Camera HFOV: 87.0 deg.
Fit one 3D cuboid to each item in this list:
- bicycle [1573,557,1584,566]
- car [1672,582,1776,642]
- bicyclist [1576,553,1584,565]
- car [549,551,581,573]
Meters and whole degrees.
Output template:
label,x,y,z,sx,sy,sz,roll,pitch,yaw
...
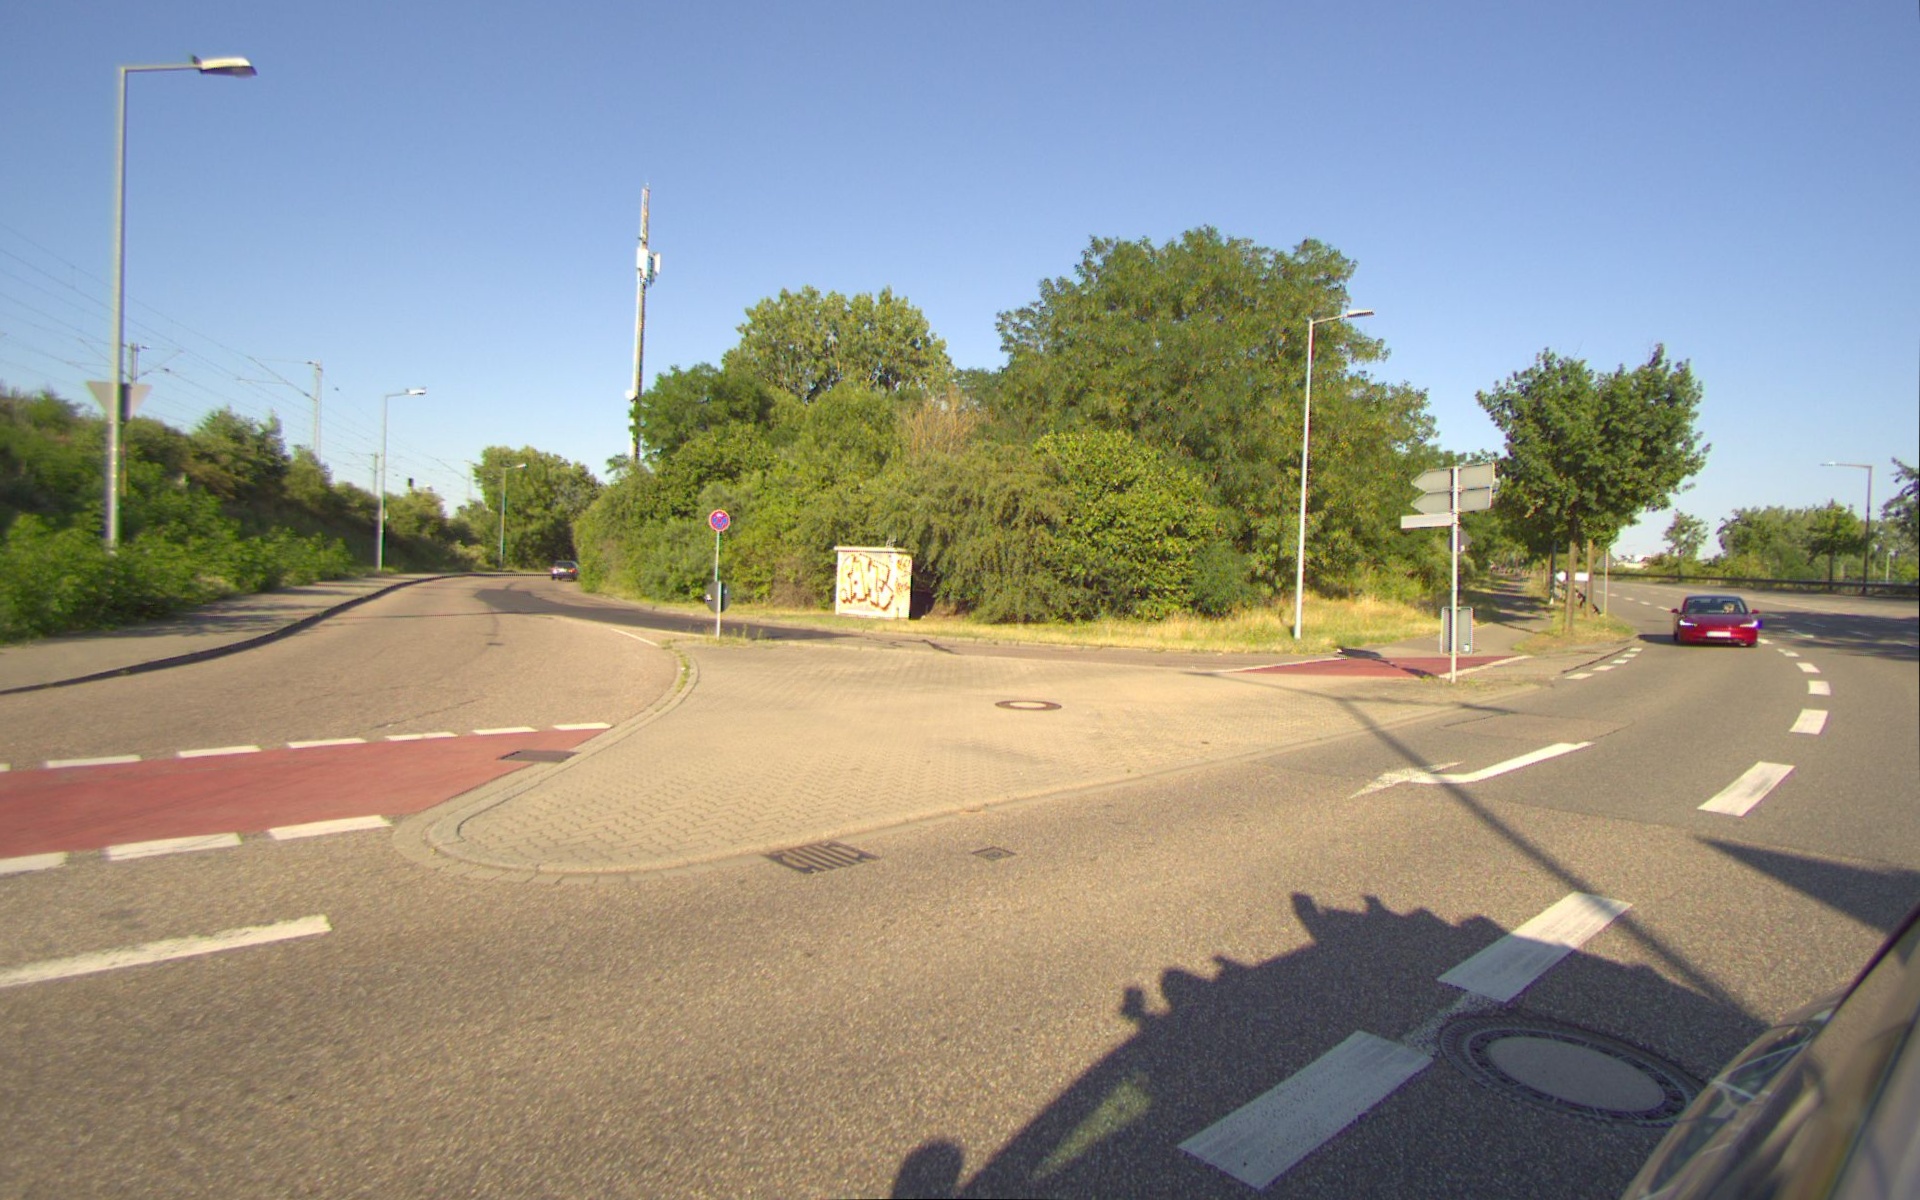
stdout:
label,x,y,z,sx,sy,sz,roll,pitch,yaw
bicycle,78.819,-4.889,128.924,0.576,1.089,2.302,4,4,16
car,22.035,0.281,29.353,1.767,1.459,4.317,1,3,29
bicyclist,78.817,-5.245,128.720,0.593,1.476,0.824,4,4,17
car,-28.304,-2.717,72.600,1.618,1.465,3.647,1,2,-14
